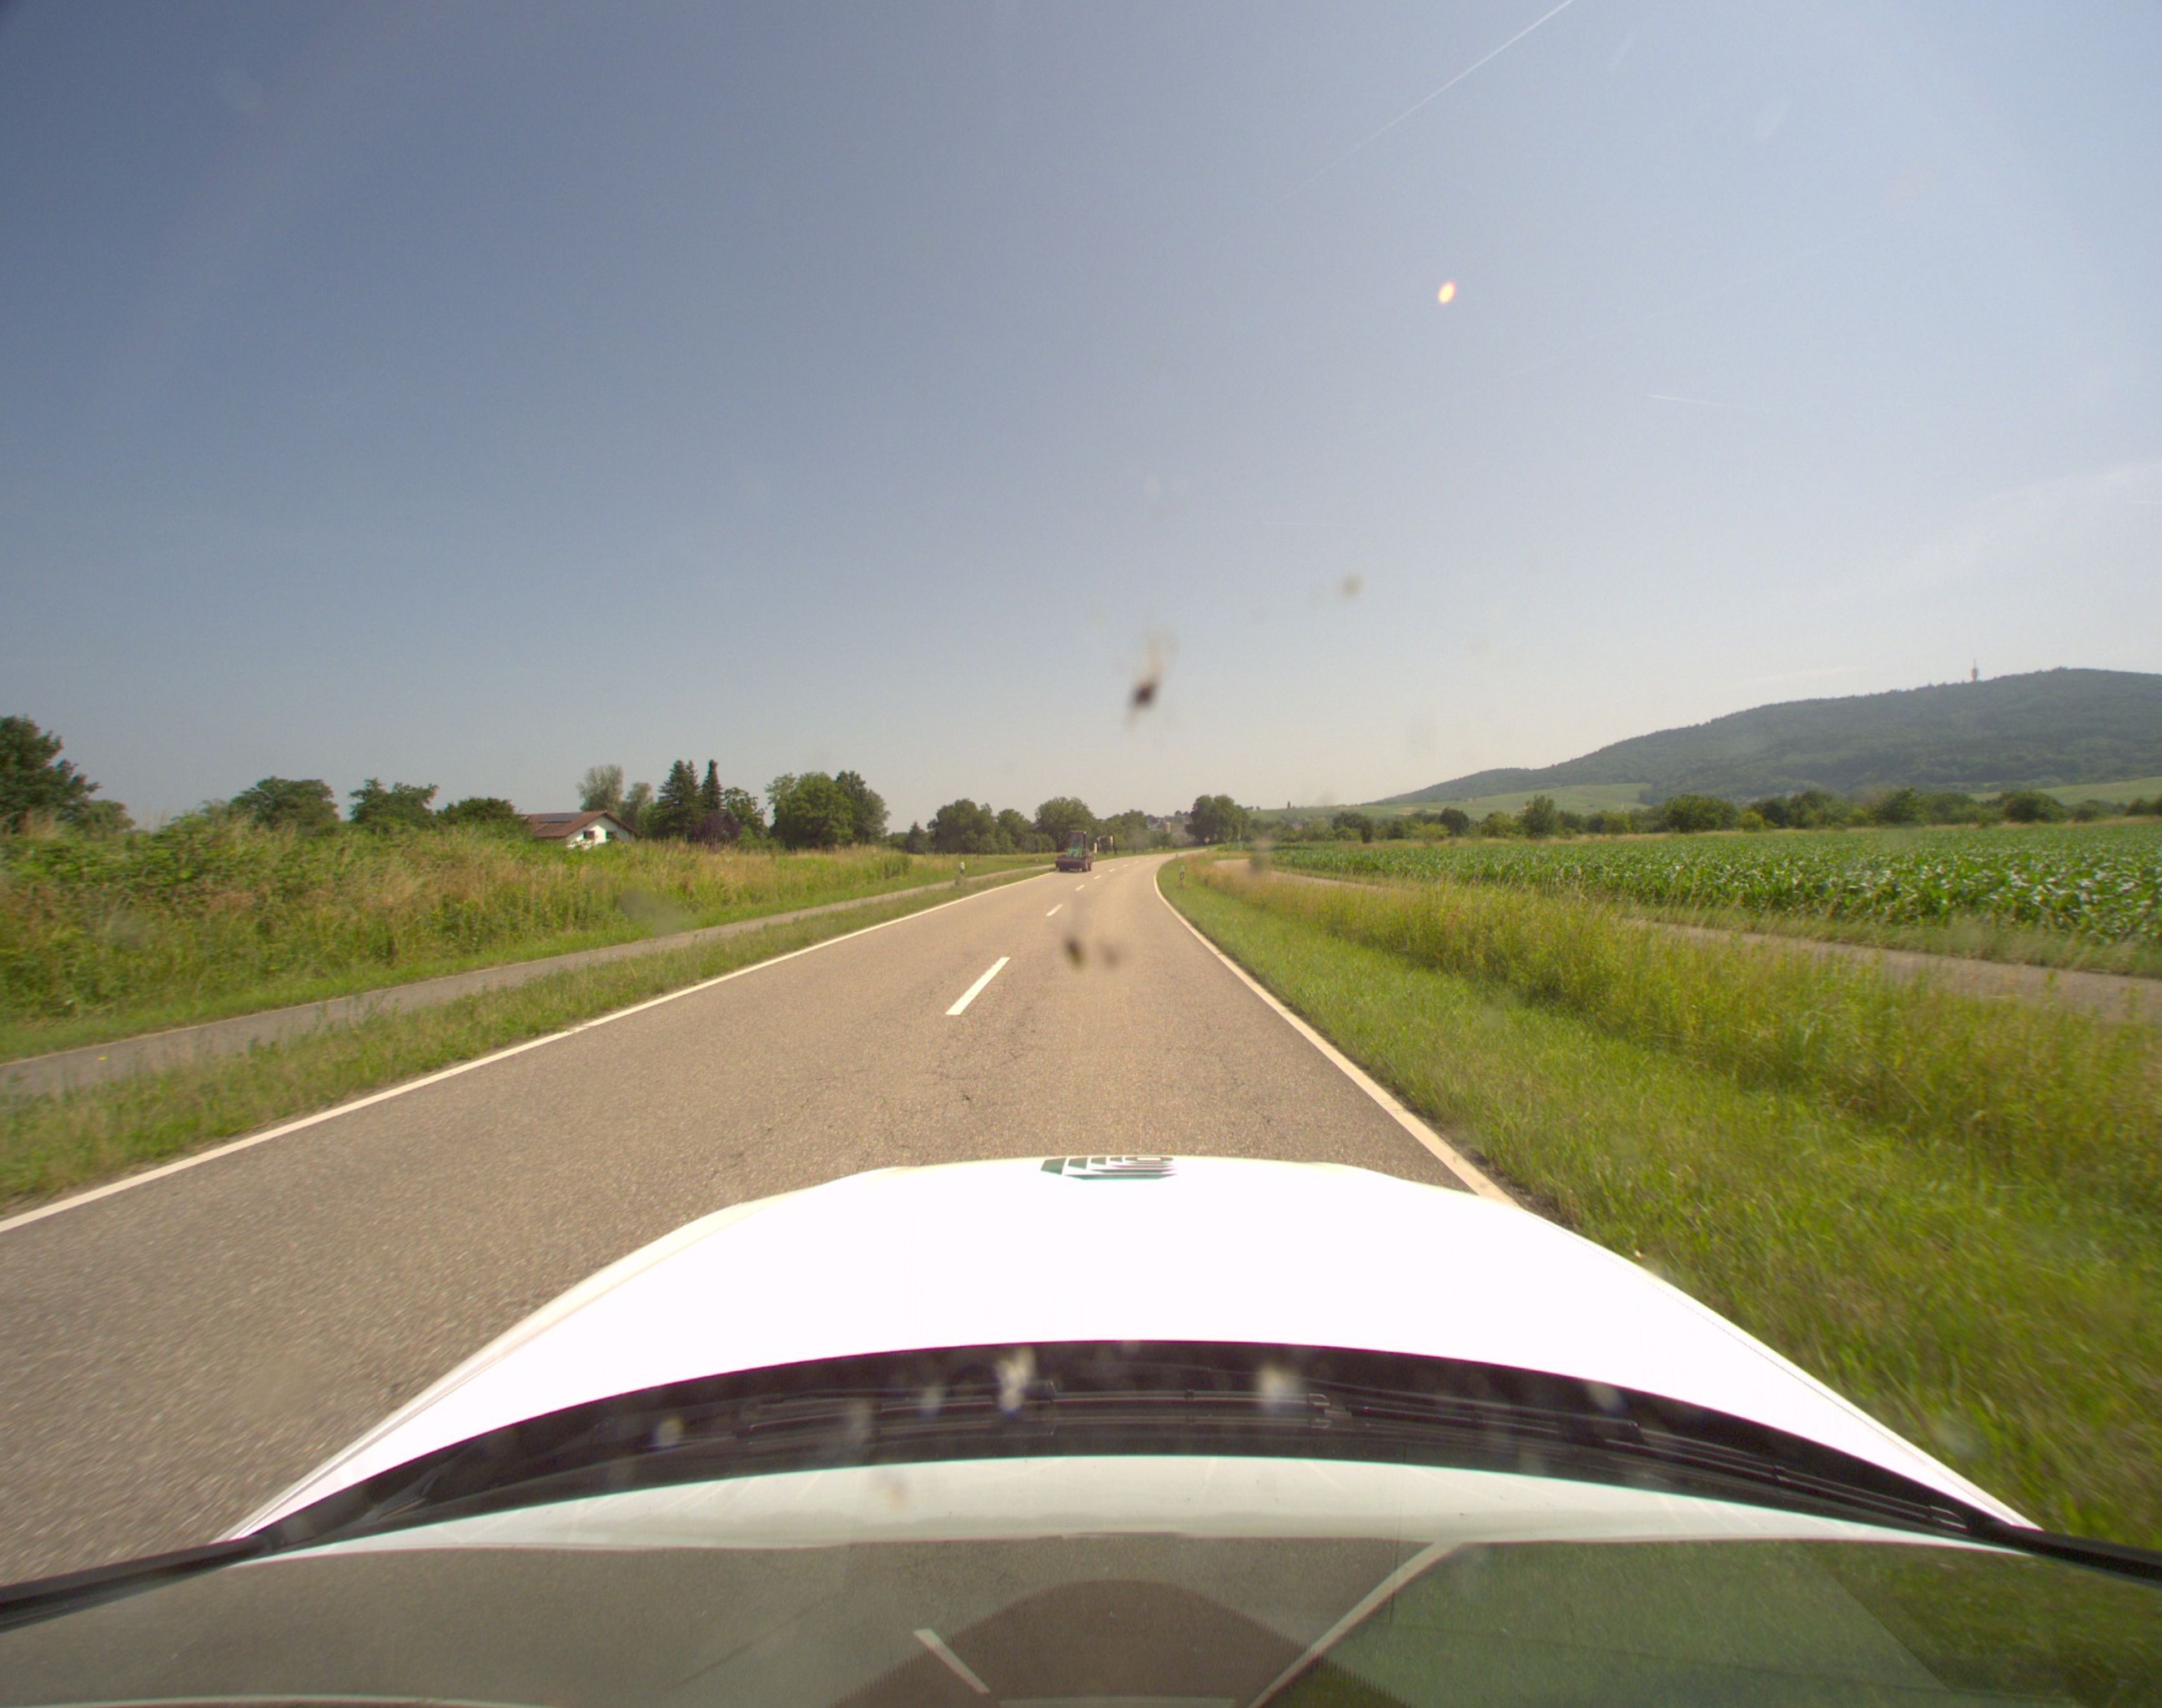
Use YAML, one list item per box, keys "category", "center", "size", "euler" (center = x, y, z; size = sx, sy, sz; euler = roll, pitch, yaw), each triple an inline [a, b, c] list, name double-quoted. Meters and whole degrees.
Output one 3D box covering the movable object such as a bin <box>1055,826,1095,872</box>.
- category: "movable object such as a bin"
  center: [-0.326, -0.336, 52.987]
  size: [1.991, 2.755, 5.238]
  euler: [1, 1, 5]
